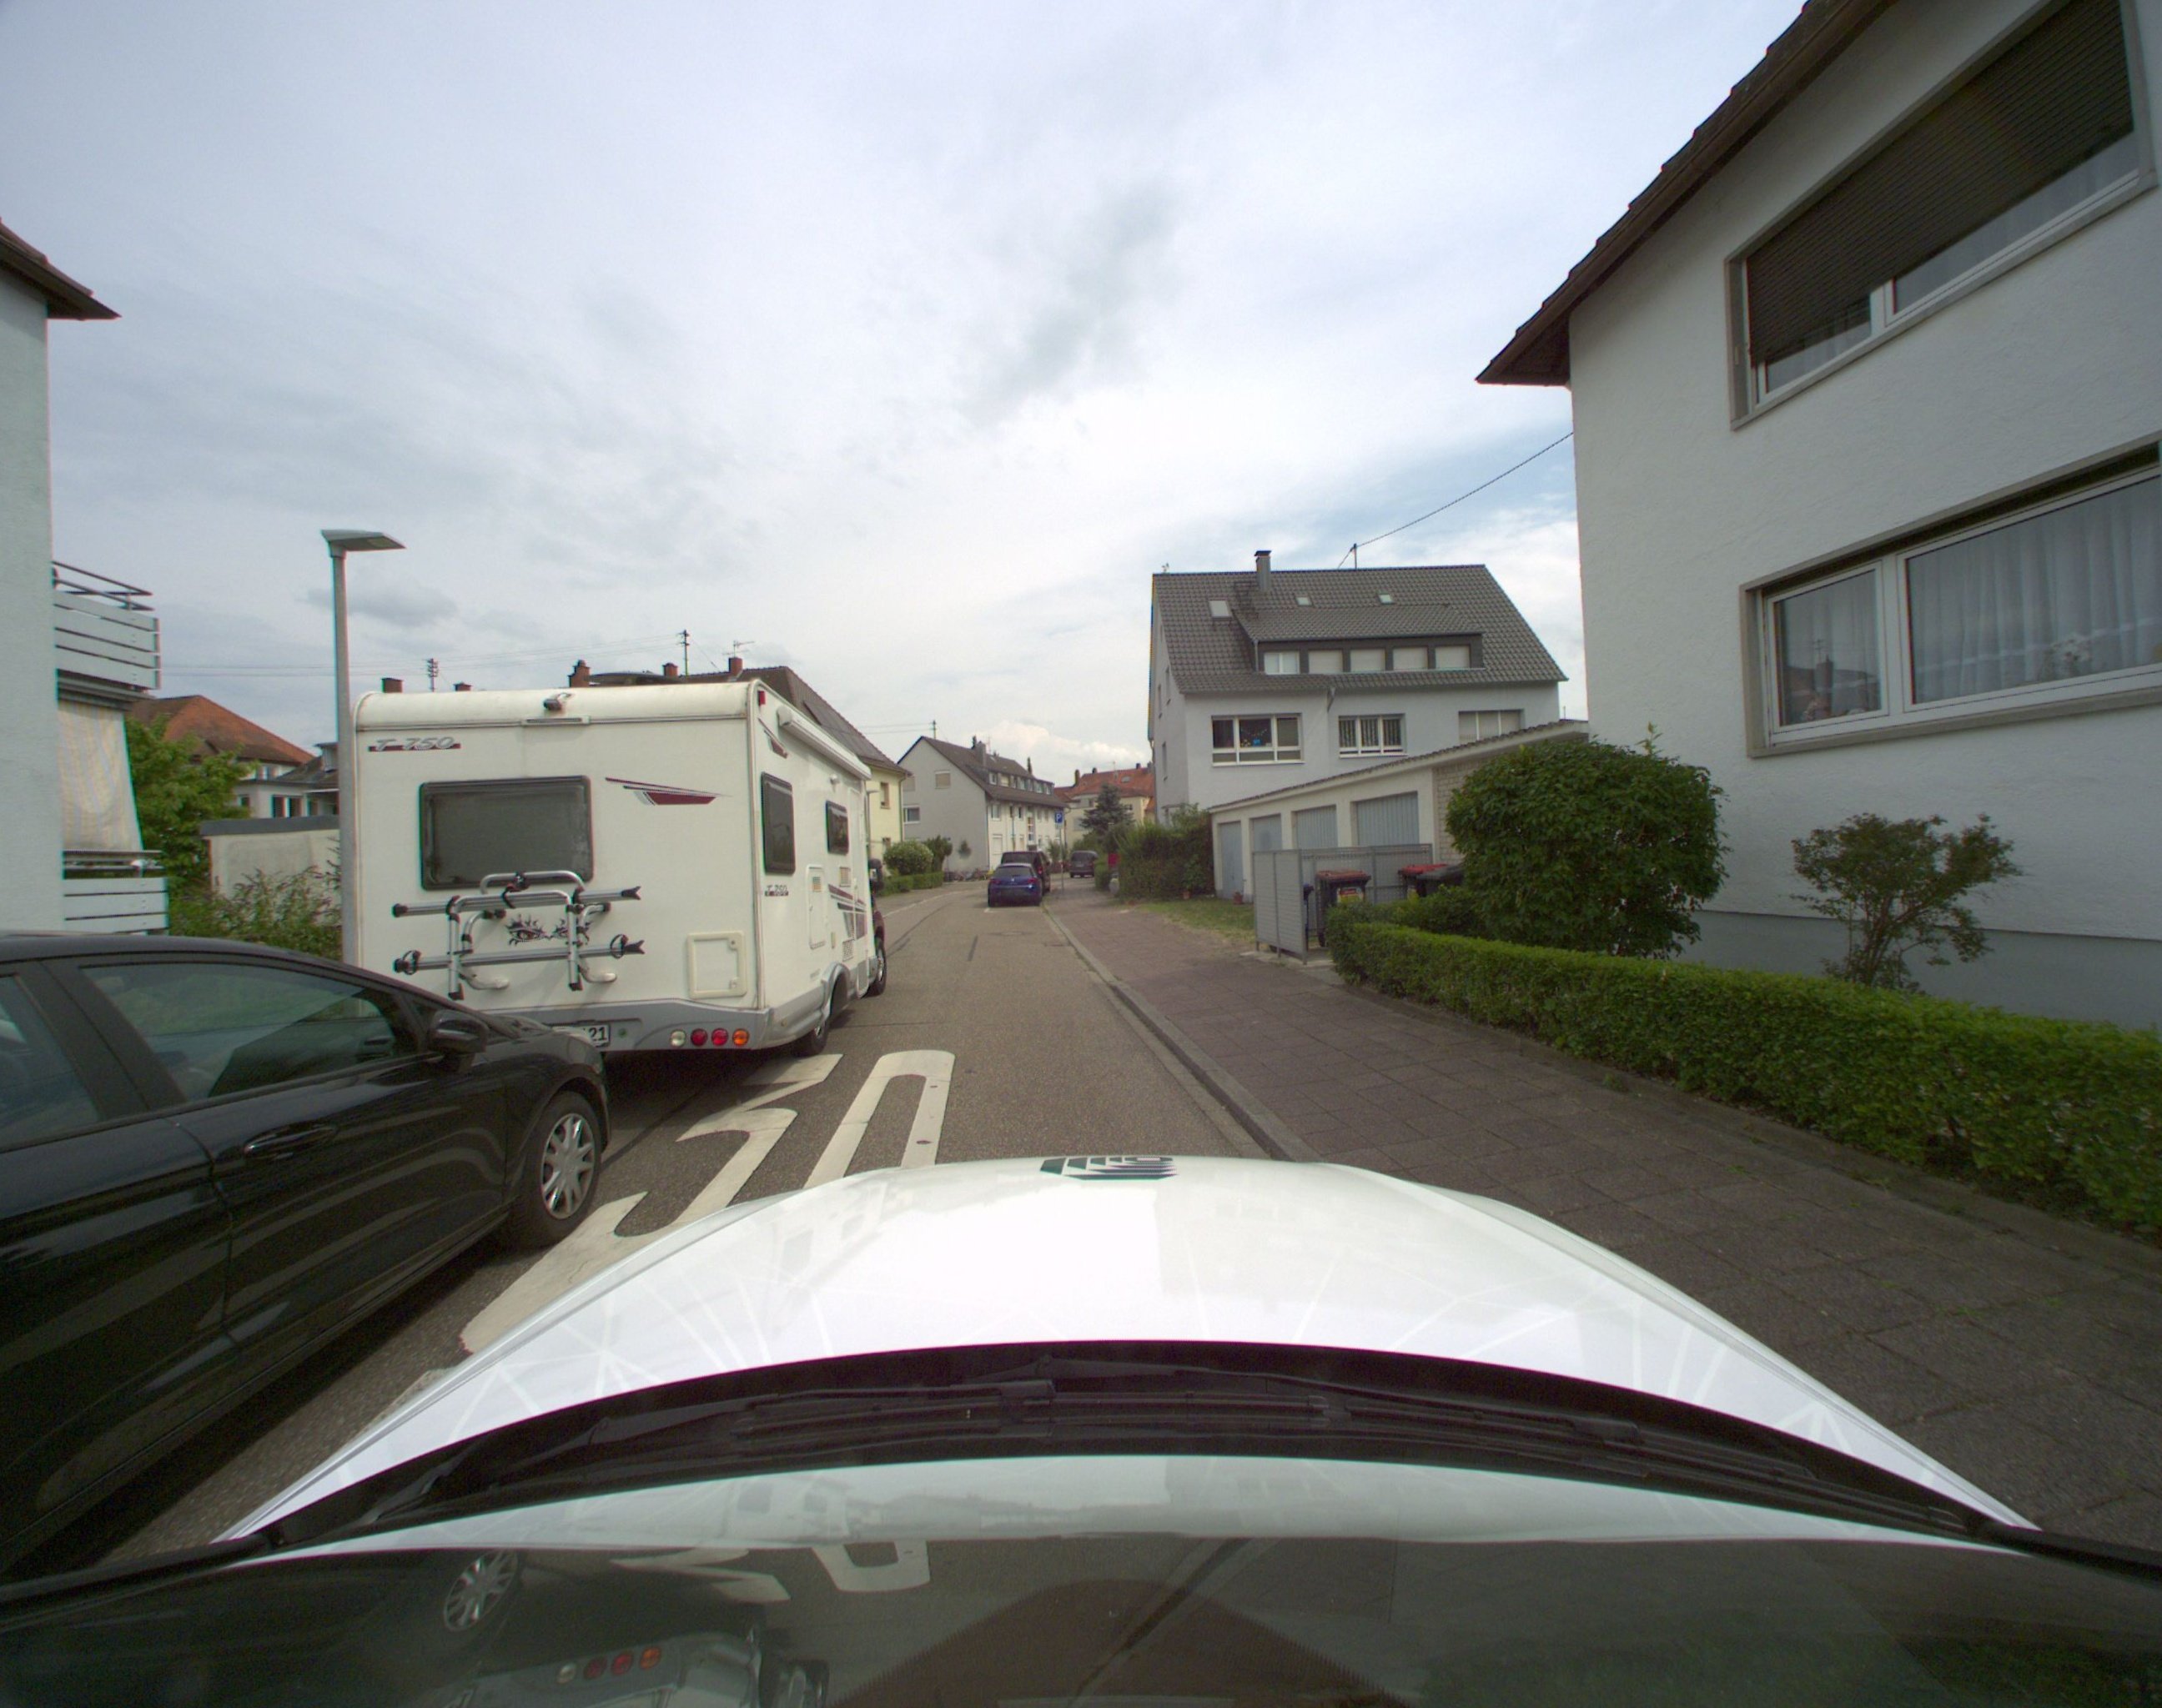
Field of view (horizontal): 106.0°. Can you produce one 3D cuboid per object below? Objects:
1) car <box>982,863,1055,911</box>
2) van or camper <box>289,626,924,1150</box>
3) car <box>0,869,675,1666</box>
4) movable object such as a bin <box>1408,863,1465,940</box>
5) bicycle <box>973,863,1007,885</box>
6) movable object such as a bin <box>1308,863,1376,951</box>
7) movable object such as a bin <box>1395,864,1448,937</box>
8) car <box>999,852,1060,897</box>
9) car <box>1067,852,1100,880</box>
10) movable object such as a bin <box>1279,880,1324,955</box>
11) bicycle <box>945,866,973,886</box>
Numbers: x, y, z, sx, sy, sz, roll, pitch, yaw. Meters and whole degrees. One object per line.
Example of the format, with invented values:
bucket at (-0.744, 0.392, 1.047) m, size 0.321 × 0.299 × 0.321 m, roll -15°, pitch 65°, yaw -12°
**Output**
car at (-2.079, 1.117, 28.190) m, size 1.714 × 1.452 × 4.006 m, roll -3°, pitch -2°, yaw 6°
van or camper at (-3.159, 0.261, 7.491) m, size 2.399 × 2.725 × 6.154 m, roll -3°, pitch -2°, yaw -3°
car at (-2.809, 0.804, 2.150) m, size 1.654 × 1.422 × 3.764 m, roll -3°, pitch -2°, yaw -2°
movable object such as a bin at (4.698, 0.622, 10.774) m, size 0.453 × 0.973 × 0.506 m, roll -3°, pitch -2°, yaw -5°
bicycle at (-6.676, 1.467, 59.824) m, size 2.359 × 1.461 × 0.713 m, roll -2°, pitch -3°, yaw -28°
movable object such as a bin at (3.542, 0.713, 11.114) m, size 0.579 × 1.138 × 0.753 m, roll -2°, pitch -2°, yaw -6°
movable object such as a bin at (4.744, 0.645, 11.357) m, size 0.453 × 0.973 × 0.506 m, roll -3°, pitch -2°, yaw -5°
car at (-2.176, 0.923, 35.399) m, size 1.844 × 1.742 × 4.352 m, roll -3°, pitch -2°, yaw 6°
car at (0.212, 0.878, 57.065) m, size 1.844 × 1.742 × 4.352 m, roll -3°, pitch -2°, yaw 6°
movable object such as a bin at (2.972, 0.848, 11.003) m, size 0.389 × 0.973 × 0.514 m, roll -2°, pitch -2°, yaw -6°
bicycle at (-8.812, 1.579, 58.727) m, size 1.839 × 1.373 × 0.667 m, roll -2°, pitch -2°, yaw -18°
